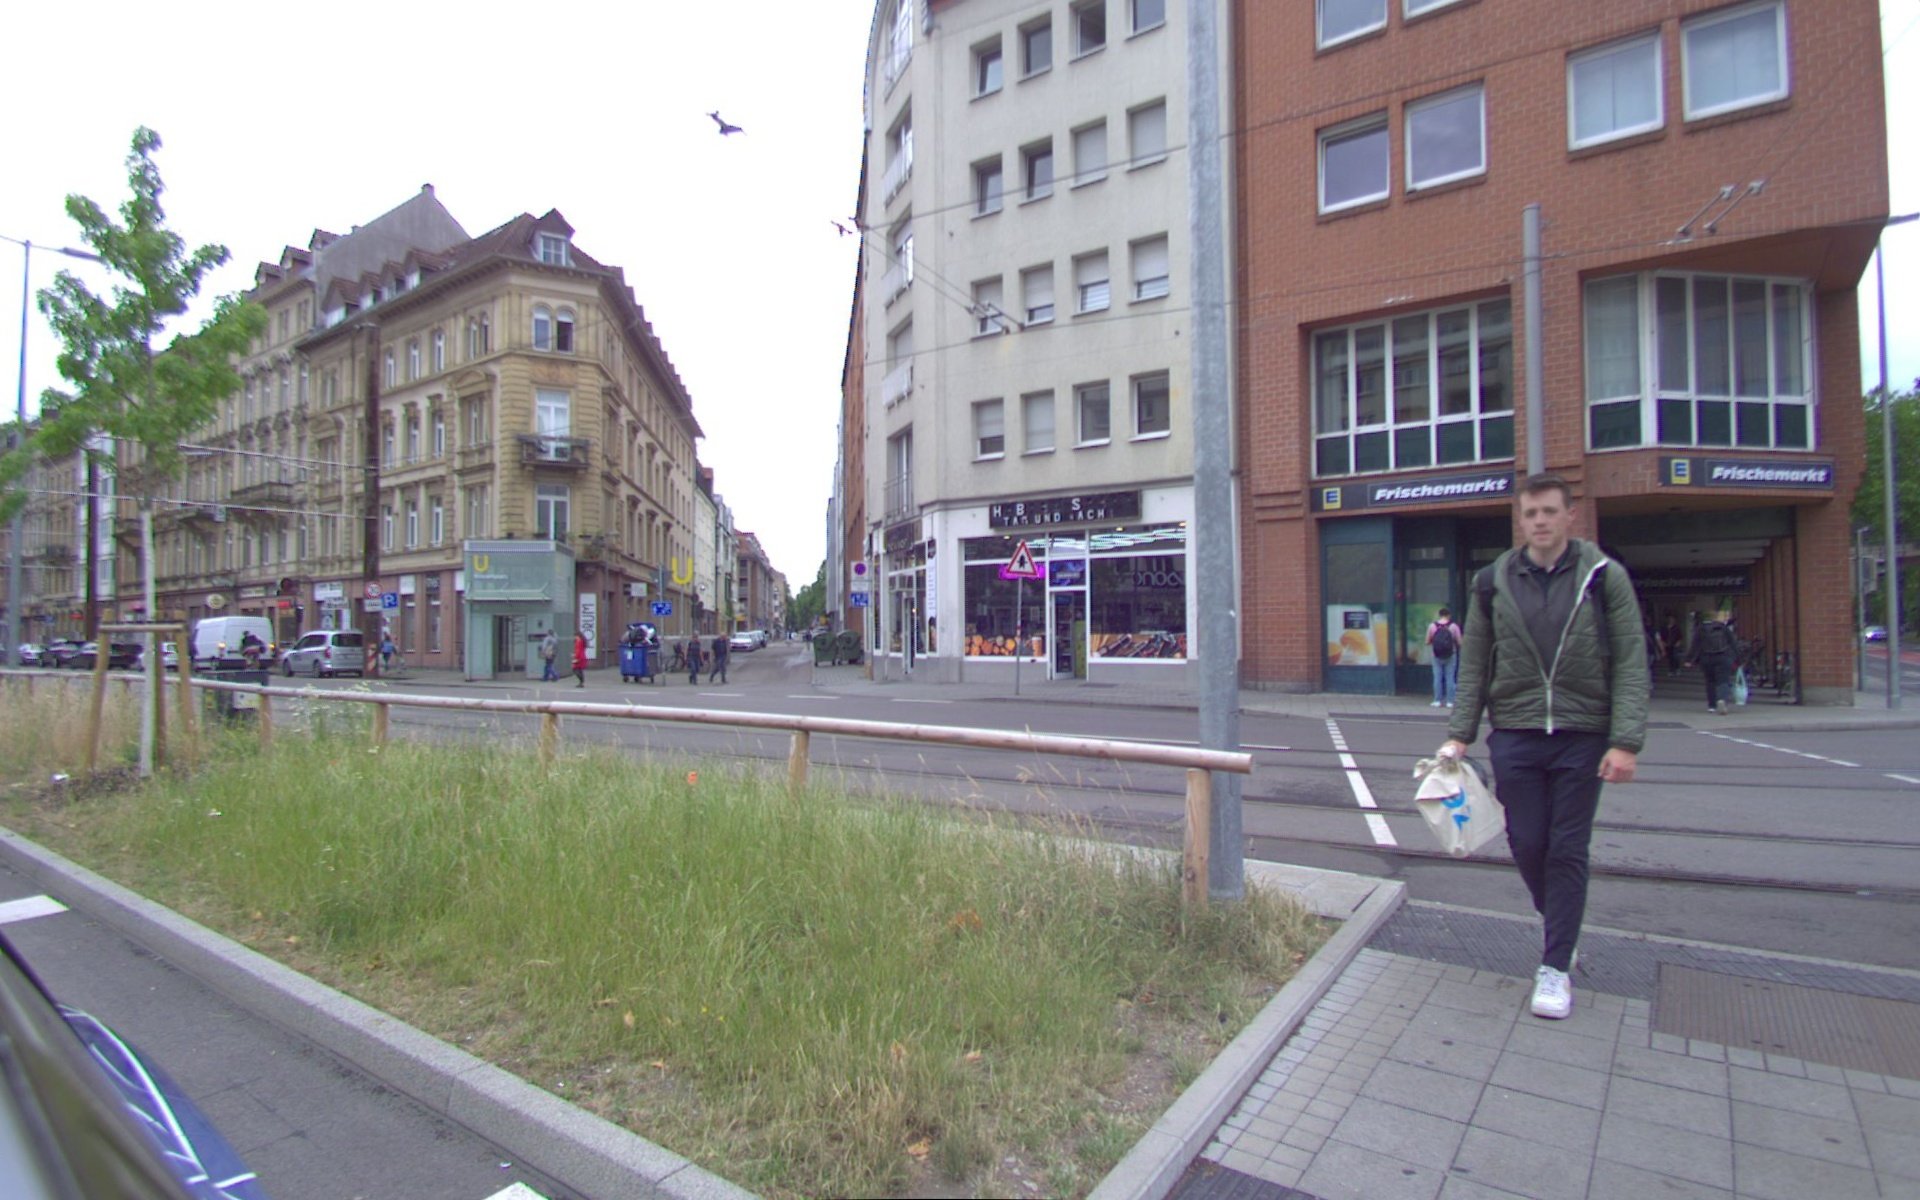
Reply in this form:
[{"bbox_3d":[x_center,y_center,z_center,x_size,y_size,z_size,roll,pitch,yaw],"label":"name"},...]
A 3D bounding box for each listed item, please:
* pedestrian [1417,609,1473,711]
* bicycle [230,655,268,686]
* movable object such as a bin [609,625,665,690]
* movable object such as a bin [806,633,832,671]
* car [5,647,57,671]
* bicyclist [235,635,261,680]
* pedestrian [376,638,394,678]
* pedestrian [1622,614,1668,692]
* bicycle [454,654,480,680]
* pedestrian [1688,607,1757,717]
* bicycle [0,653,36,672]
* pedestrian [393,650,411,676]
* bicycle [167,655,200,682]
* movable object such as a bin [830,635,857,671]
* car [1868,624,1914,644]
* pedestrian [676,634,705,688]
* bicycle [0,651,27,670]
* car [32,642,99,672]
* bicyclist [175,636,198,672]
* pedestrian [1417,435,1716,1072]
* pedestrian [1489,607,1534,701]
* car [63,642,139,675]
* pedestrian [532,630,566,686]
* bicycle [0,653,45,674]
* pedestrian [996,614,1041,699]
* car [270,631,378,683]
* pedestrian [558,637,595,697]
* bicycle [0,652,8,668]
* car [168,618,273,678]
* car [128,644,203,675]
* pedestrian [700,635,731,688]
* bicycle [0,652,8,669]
[{"bbox_3d":[8.391,1.019,17.519,0.796,1.696,0.564,-1,0,33],"label":"pedestrian"},{"bbox_3d":[-25.076,2.473,35.678,1.908,1.029,0.472,-2,-3,36],"label":"bicycle"},{"bbox_3d":[-10.318,1.815,32.316,1.617,1.996,1.019,-1,-2,43],"label":"movable object such as a bin"},{"bbox_3d":[-5.911,2.171,42.348,0.931,1.512,1.242,-1,-1,-12],"label":"movable object such as a bin"},{"bbox_3d":[-60.145,3.793,65.514,3.912,1.500,1.728,-3,-4,36],"label":"car"},{"bbox_3d":[-25.144,2.017,35.750,0.810,1.552,0.487,-2,-3,35],"label":"bicyclist"},{"bbox_3d":[-23.117,2.339,40.684,0.546,1.568,0.659,0,-2,-36],"label":"pedestrian"},{"bbox_3d":[15.279,1.164,22.580,0.796,1.696,0.738,-1,0,32],"label":"pedestrian"},{"bbox_3d":[-19.111,2.573,39.199,1.688,0.966,0.336,-2,-2,44],"label":"bicycle"},{"bbox_3d":[12.270,0.976,16.309,0.796,1.696,0.738,-1,0,32],"label":"pedestrian"},{"bbox_3d":[-64.762,4.268,69.141,0.665,1.339,2.261,-2,-5,37],"label":"bicycle"},{"bbox_3d":[-22.613,2.553,41.027,0.453,1.038,0.547,-3,-2,45],"label":"pedestrian"},{"bbox_3d":[-30.784,2.714,40.098,1.908,1.029,0.475,-2,-3,35],"label":"bicycle"},{"bbox_3d":[-4.884,2.210,42.443,0.994,1.416,1.242,-1,-1,-12],"label":"movable object such as a bin"},{"bbox_3d":[74.740,2.721,81.336,1.921,1.575,3.828,-2,-2,31],"label":"car"},{"bbox_3d":[-8.732,1.960,32.793,0.651,1.700,0.724,2,-2,-38],"label":"pedestrian"},{"bbox_3d":[-67.565,4.273,71.487,0.665,1.339,2.261,-2,-5,37],"label":"bicycle"},{"bbox_3d":[-53.744,3.429,60.794,5.018,1.703,1.798,-2,-4,34],"label":"car"},{"bbox_3d":[-30.626,2.142,40.059,0.810,1.417,0.475,-2,-3,35],"label":"bicyclist"},{"bbox_3d":[2.164,0.460,3.625,0.797,1.904,0.889,-1,0,34],"label":"pedestrian"},{"bbox_3d":[10.278,0.994,18.877,0.719,1.700,0.656,0,-2,28],"label":"pedestrian"},{"bbox_3d":[-46.922,3.195,55.233,5.041,1.702,1.902,-2,-5,35],"label":"car"},{"bbox_3d":[-12.928,1.808,31.809,0.811,1.700,0.724,2,-2,-36],"label":"pedestrian"},{"bbox_3d":[-62.687,4.240,67.528,0.665,1.339,2.261,-2,-5,37],"label":"bicycle"},{"bbox_3d":[1.200,1.139,20.668,0.718,1.700,0.656,0,-2,24],"label":"pedestrian"},{"bbox_3d":[-24.423,2.174,38.798,4.510,1.879,1.886,-2,-4,35],"label":"car"},{"bbox_3d":[-11.160,1.927,29.466,0.658,1.700,0.716,0,-2,26],"label":"pedestrian"},{"bbox_3d":[-70.950,4.349,73.692,0.703,1.212,2.261,-2,-5,37],"label":"bicycle"},{"bbox_3d":[-32.981,2.164,45.108,5.654,2.506,2.034,-2,-5,36],"label":"car"},{"bbox_3d":[-39.167,2.936,49.884,4.155,1.434,1.755,-2,-5,35],"label":"car"},{"bbox_3d":[-8.047,2.011,33.298,0.651,1.700,0.925,2,-2,-38],"label":"pedestrian"},{"bbox_3d":[-71.413,4.488,74.210,0.546,1.212,2.261,-2,-2,37],"label":"bicycle"}]
